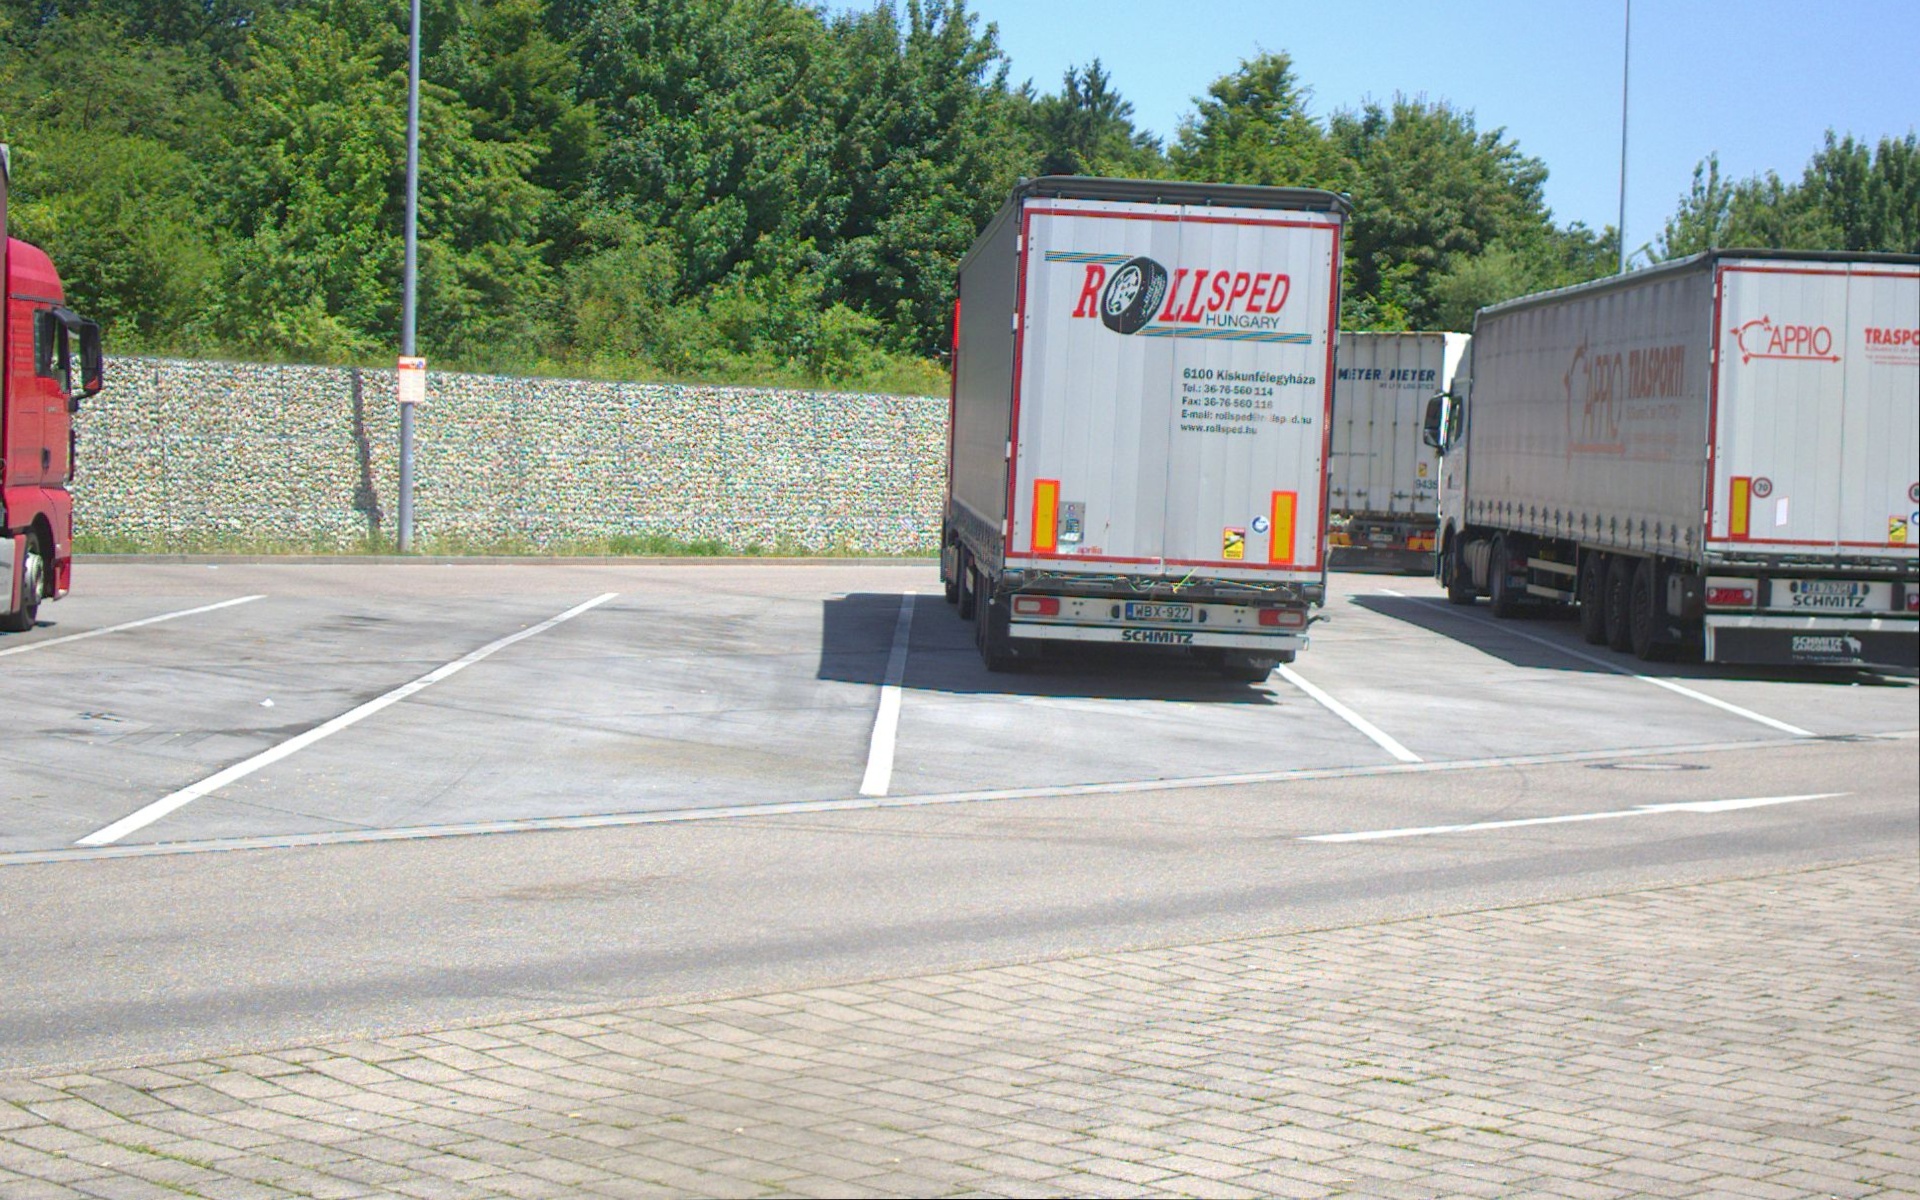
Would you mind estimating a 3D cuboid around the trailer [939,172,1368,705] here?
[{"bbox_3d":[1.441,-1.636,33.604,2.866,4.023,14.243,2,3,-2],"label":"trailer"}]

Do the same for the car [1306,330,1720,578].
[{"bbox_3d":[9.884,-2.516,60.722,2.687,4.030,8.446,6,5,43],"label":"car"}]

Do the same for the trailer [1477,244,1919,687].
[{"bbox_3d":[8.185,-1.568,37.941,2.866,4.023,12.439,2,3,0],"label":"trailer"}]

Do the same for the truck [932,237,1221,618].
[{"bbox_3d":[1.229,-2.054,40.683,2.866,4.023,7.028,2,3,-2],"label":"truck"}]

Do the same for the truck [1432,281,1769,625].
[{"bbox_3d":[8.126,-1.950,44.568,2.866,4.023,6.957,2,3,0],"label":"truck"}]

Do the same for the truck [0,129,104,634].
[{"bbox_3d":[-9.147,-1.812,27.965,2.696,4.099,6.240,2,3,0],"label":"truck"}]

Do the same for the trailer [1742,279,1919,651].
[{"bbox_3d":[11.841,-1.528,39.005,2.866,4.023,12.439,2,3,0],"label":"trailer"}]
